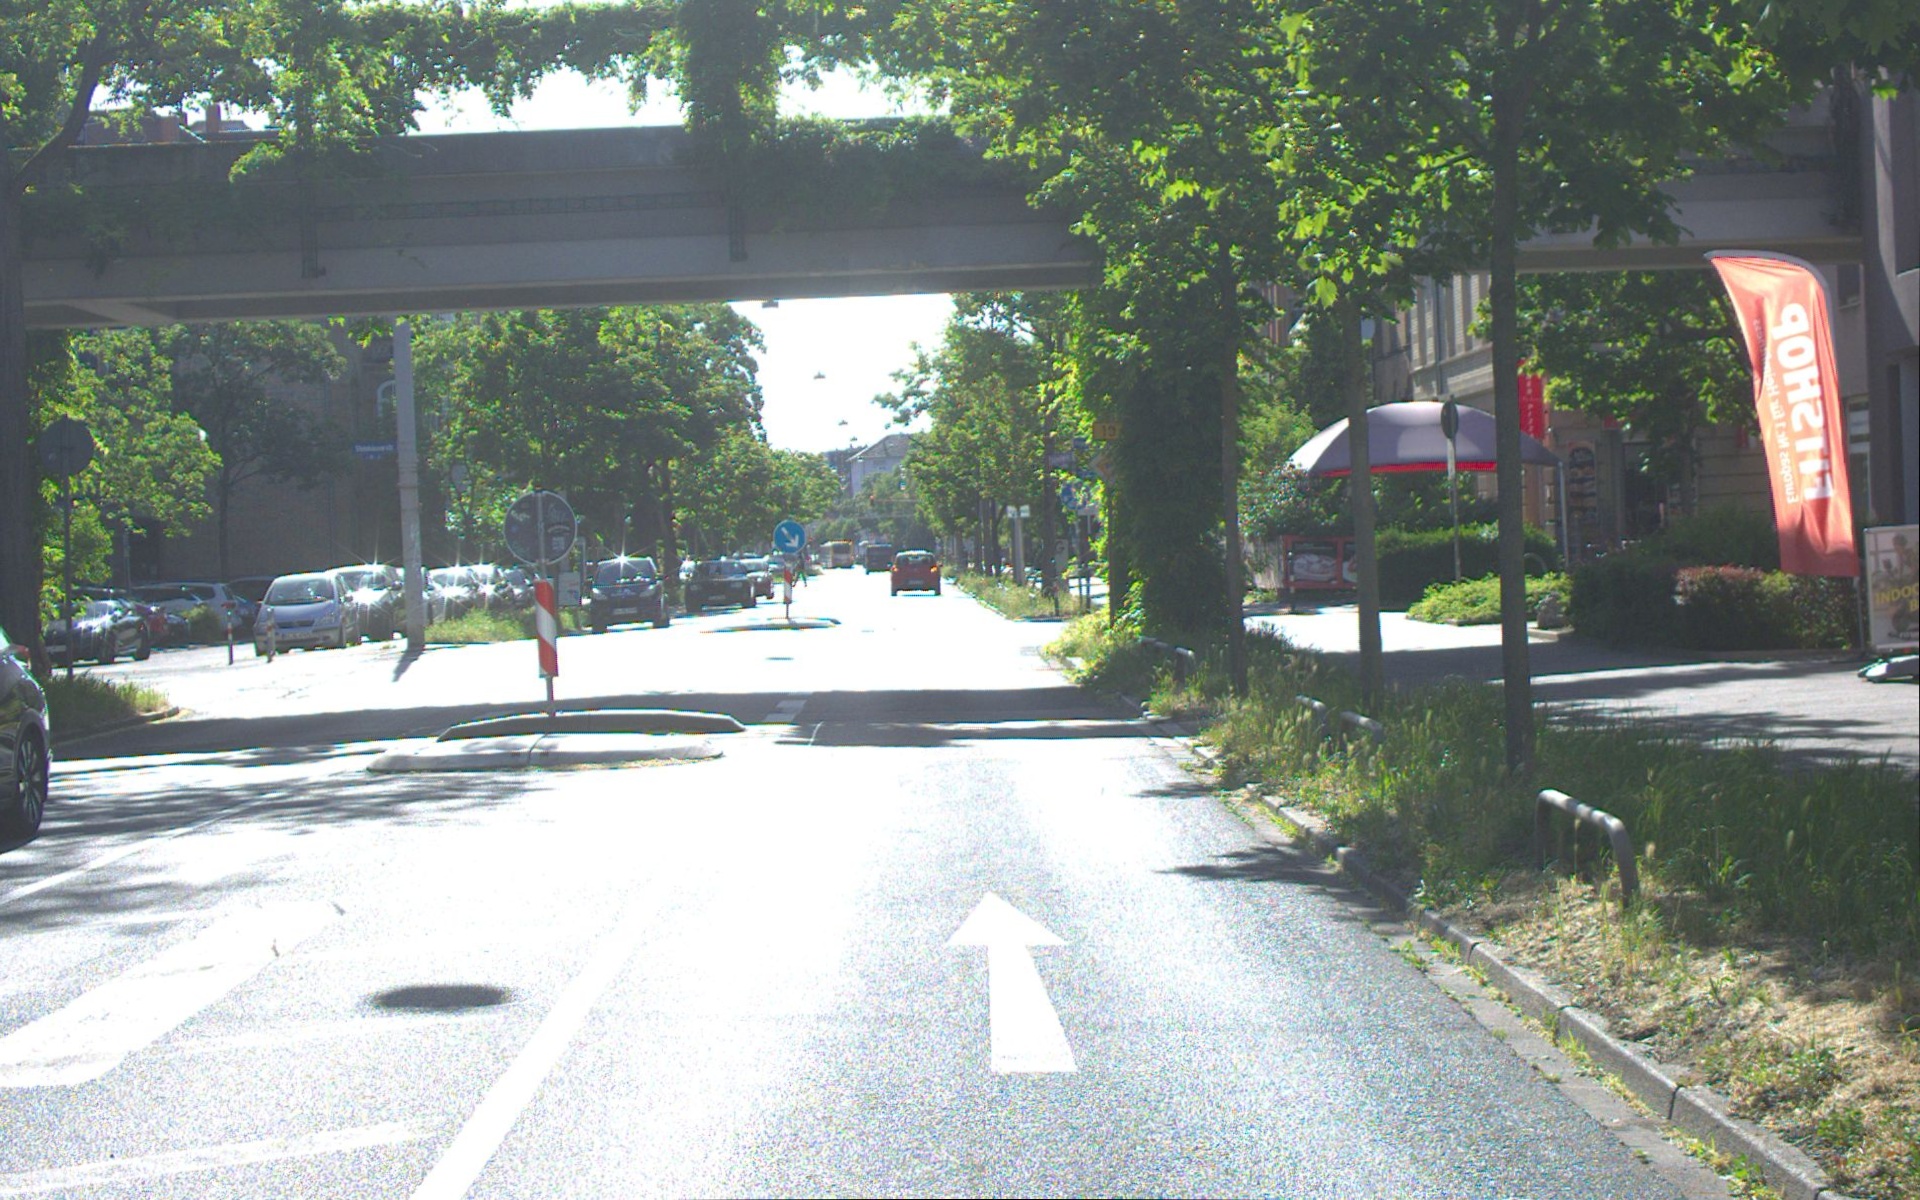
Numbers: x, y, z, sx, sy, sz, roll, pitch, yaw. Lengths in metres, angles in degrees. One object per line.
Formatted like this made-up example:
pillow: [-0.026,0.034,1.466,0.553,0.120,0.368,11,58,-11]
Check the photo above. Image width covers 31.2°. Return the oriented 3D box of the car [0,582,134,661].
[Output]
car: [-18.701,0.423,72.048,1.855,1.518,4.319,-1,1,-2]

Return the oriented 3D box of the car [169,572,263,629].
car: [-21.375,0.002,98.943,1.855,1.518,4.319,-1,1,-2]

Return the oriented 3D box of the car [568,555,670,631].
car: [-7.237,-0.170,73.379,1.855,1.518,4.319,-1,1,-2]

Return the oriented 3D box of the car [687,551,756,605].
car: [-7.023,-0.662,101.547,1.855,1.518,4.319,-1,1,-2]

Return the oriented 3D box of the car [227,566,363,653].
car: [-12.380,0.150,64.226,1.855,1.518,4.078,-1,1,-2]

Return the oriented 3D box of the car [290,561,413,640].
car: [-12.467,-0.009,70.657,1.855,1.518,4.319,-1,1,-2]

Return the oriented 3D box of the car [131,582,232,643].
car: [-21.033,0.316,92.990,1.855,1.518,4.319,-1,1,-2]

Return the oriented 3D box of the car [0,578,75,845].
car: [-6.193,0.686,18.212,1.856,1.435,4.319,-4,1,-1]

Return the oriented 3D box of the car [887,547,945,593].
car: [-1.483,-1.036,116.961,1.856,1.518,4.319,-1,1,1]

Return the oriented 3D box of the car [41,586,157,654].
car: [-21.056,0.473,84.212,1.855,1.518,4.319,-1,1,-2]
